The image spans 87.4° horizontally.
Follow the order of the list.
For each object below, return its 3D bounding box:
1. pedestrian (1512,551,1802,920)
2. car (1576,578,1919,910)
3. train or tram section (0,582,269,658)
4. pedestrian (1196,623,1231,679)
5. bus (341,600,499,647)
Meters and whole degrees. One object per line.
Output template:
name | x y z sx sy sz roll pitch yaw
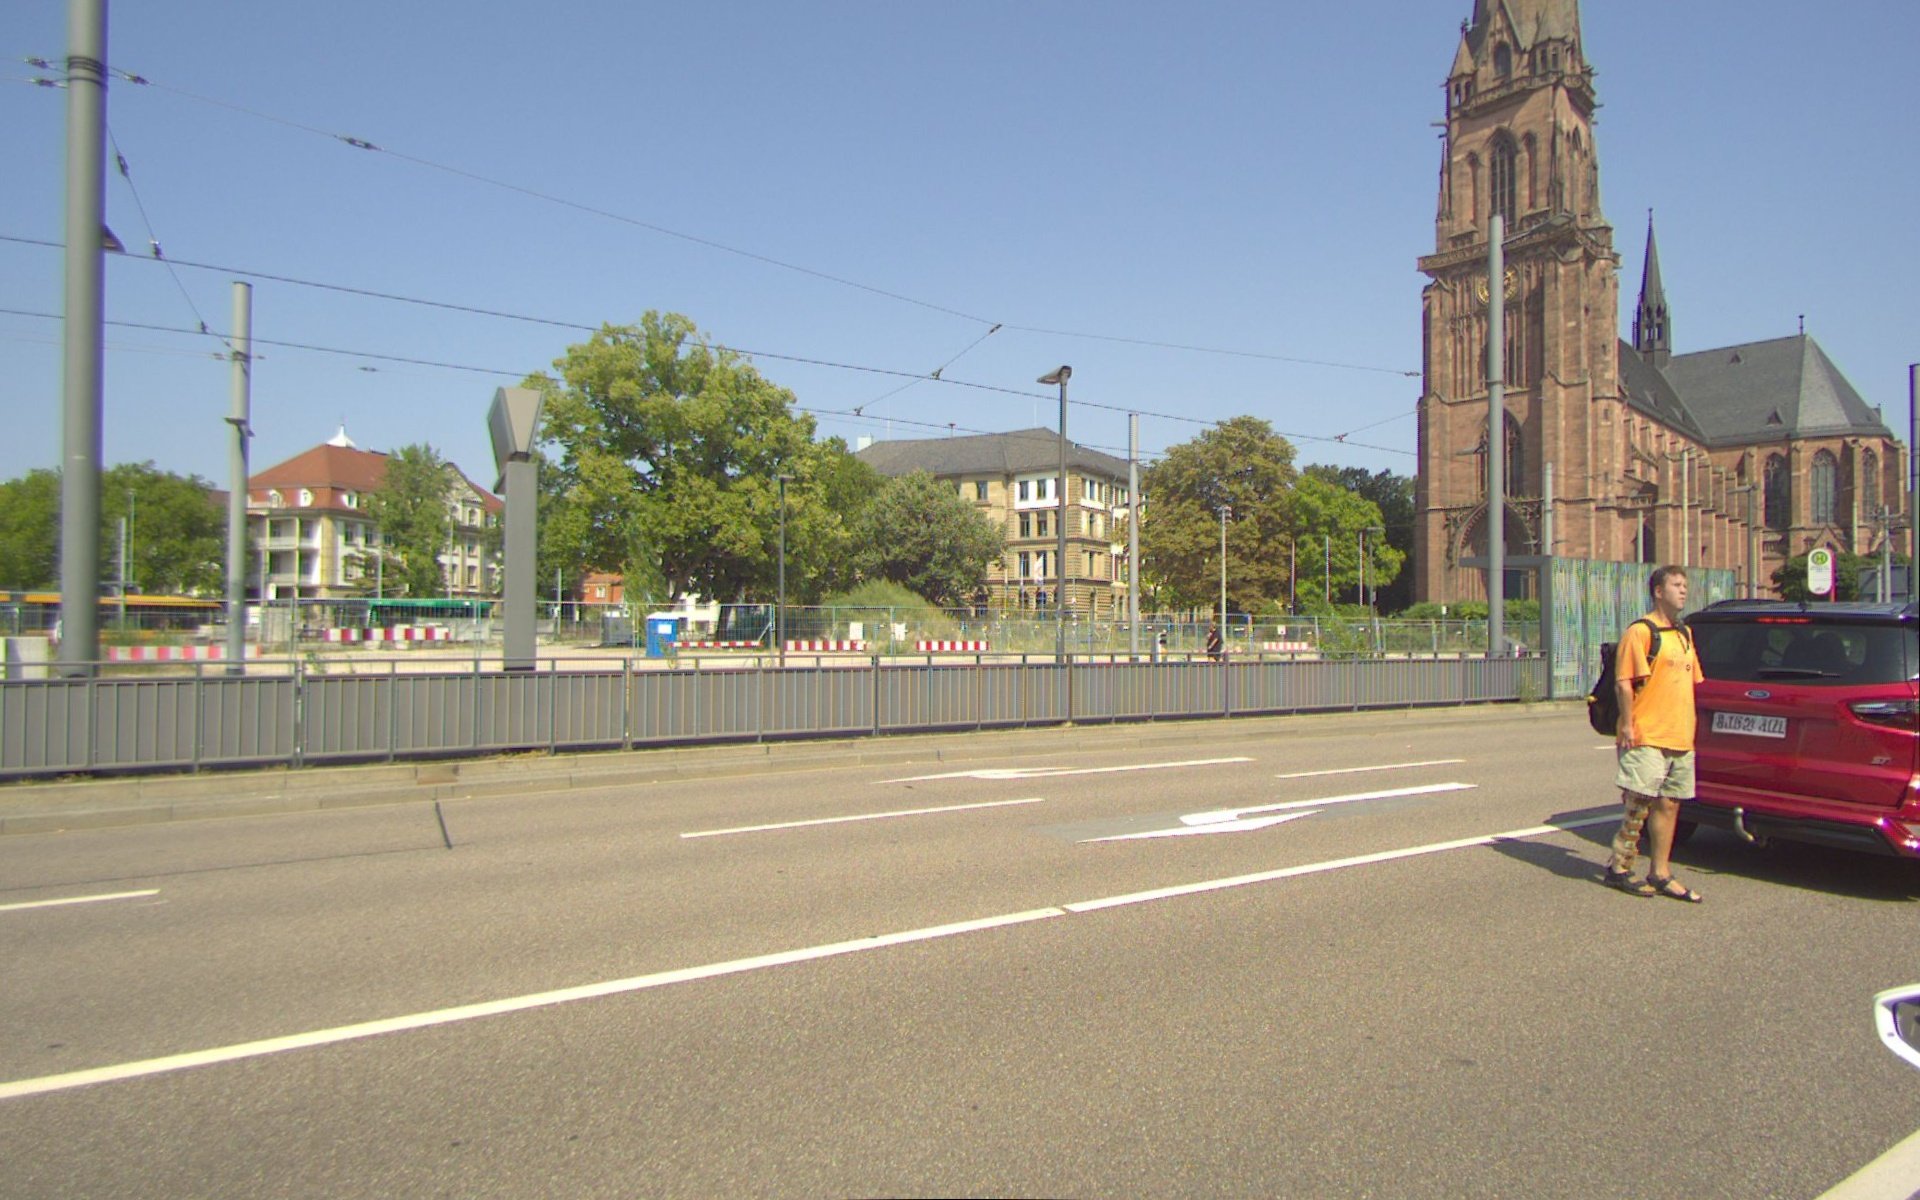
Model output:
pedestrian | 3.756 0.663 5.483 0.752 1.775 1.063 1 0 -22
car | 6.142 0.802 6.658 4.032 1.639 1.755 2 -2 -28
train or tram section | -50.585 1.380 60.069 3.982 3.972 16.682 -2 -3 15
pedestrian | 8.134 1.638 32.284 0.712 1.775 0.825 2 -2 -29
bus | -39.298 1.638 73.967 2.491 3.072 12.441 -2 -1 14
